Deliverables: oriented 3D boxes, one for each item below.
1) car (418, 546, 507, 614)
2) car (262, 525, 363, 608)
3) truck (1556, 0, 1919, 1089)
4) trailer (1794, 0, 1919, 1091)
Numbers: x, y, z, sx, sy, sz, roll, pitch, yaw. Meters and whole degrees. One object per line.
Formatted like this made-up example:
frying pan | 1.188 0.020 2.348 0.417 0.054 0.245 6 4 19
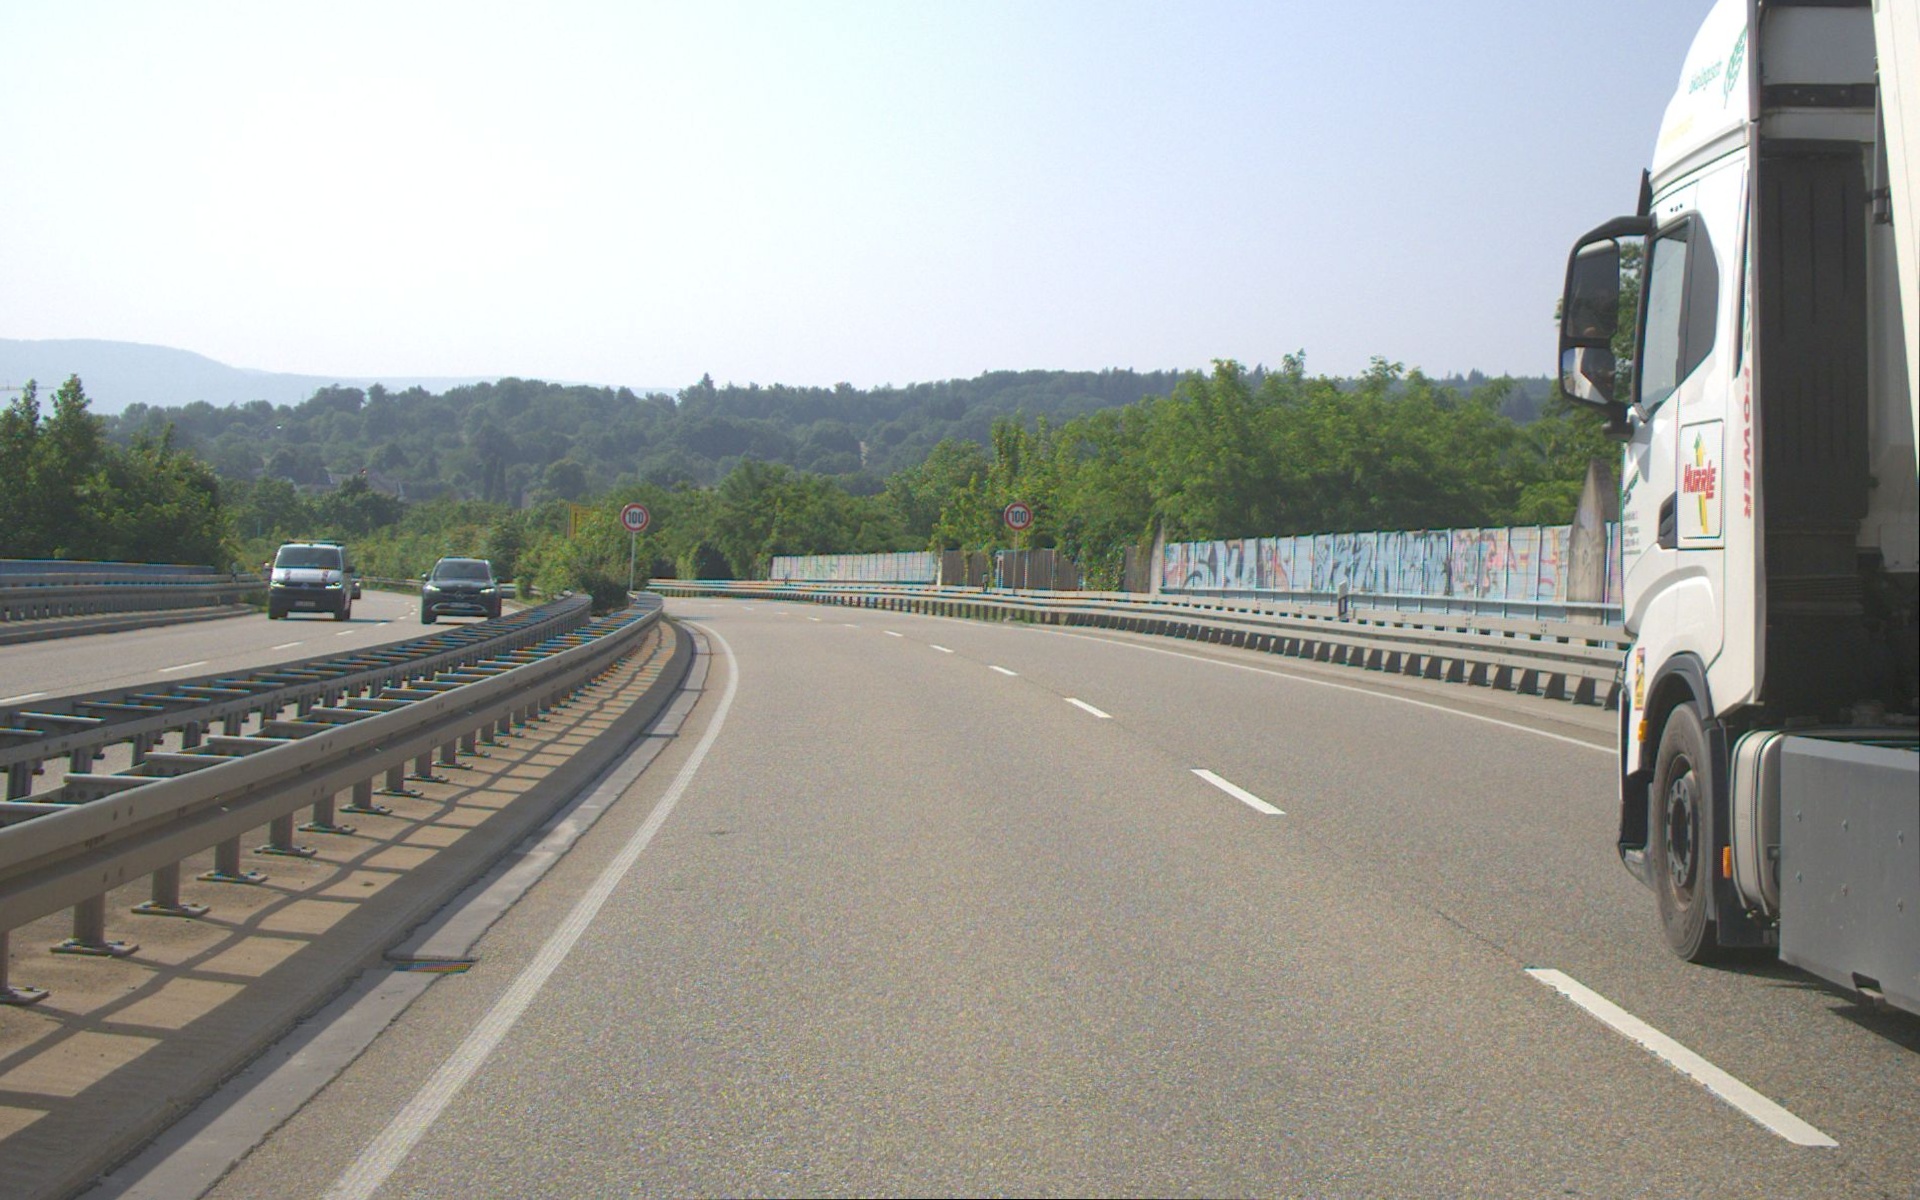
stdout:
car | -12.556 -0.518 86.965 1.864 1.602 4.419 2 1 -4
car | -16.643 -0.890 88.579 2.038 1.999 5.309 2 1 -6
truck | 3.964 -0.593 11.964 2.658 3.883 5.648 1 0 -1
trailer | 4.071 -0.533 5.952 2.679 3.894 9.673 1 1 -1
